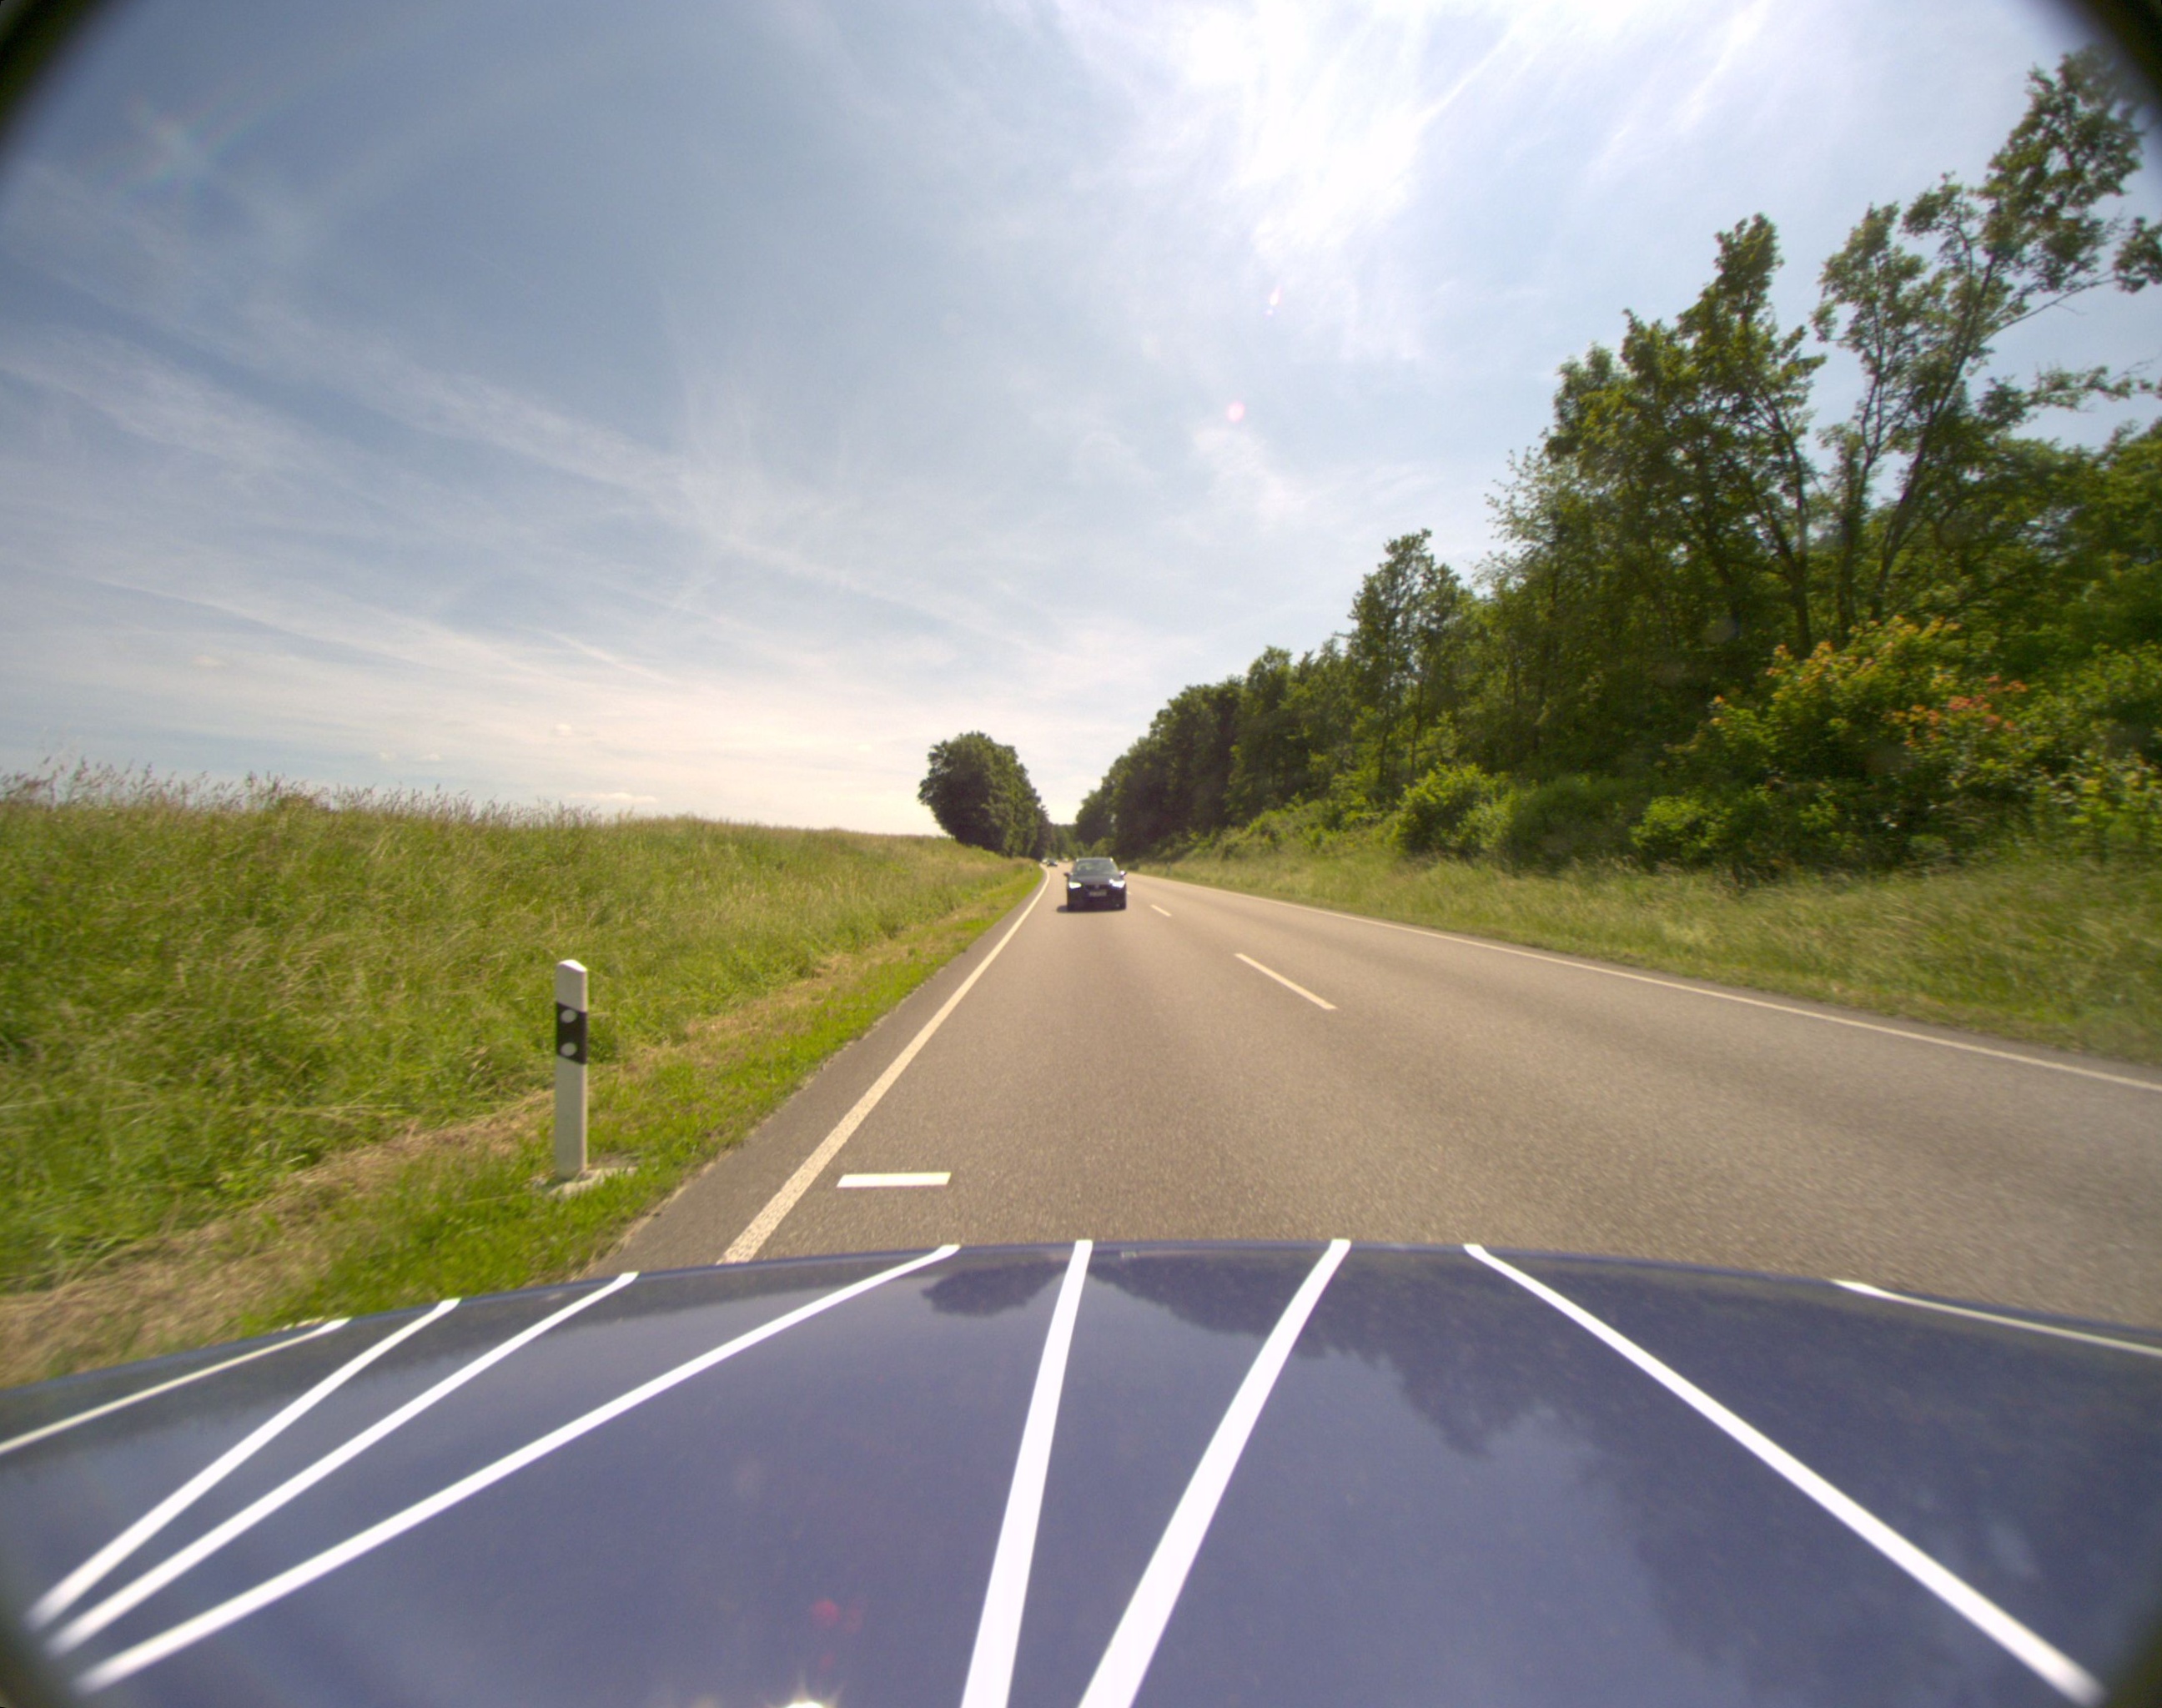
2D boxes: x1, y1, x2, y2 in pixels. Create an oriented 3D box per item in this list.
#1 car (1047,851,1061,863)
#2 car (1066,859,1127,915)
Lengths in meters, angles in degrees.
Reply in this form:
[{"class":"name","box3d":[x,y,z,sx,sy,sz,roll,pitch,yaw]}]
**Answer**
[{"class":"car","box3d":[-4.807,0.484,133.141,2.000,2.002,3.997,-3,0,-8]},{"class":"car","box3d":[0.465,0.934,23.005,1.662,1.531,3.487,-1,0,1]}]
